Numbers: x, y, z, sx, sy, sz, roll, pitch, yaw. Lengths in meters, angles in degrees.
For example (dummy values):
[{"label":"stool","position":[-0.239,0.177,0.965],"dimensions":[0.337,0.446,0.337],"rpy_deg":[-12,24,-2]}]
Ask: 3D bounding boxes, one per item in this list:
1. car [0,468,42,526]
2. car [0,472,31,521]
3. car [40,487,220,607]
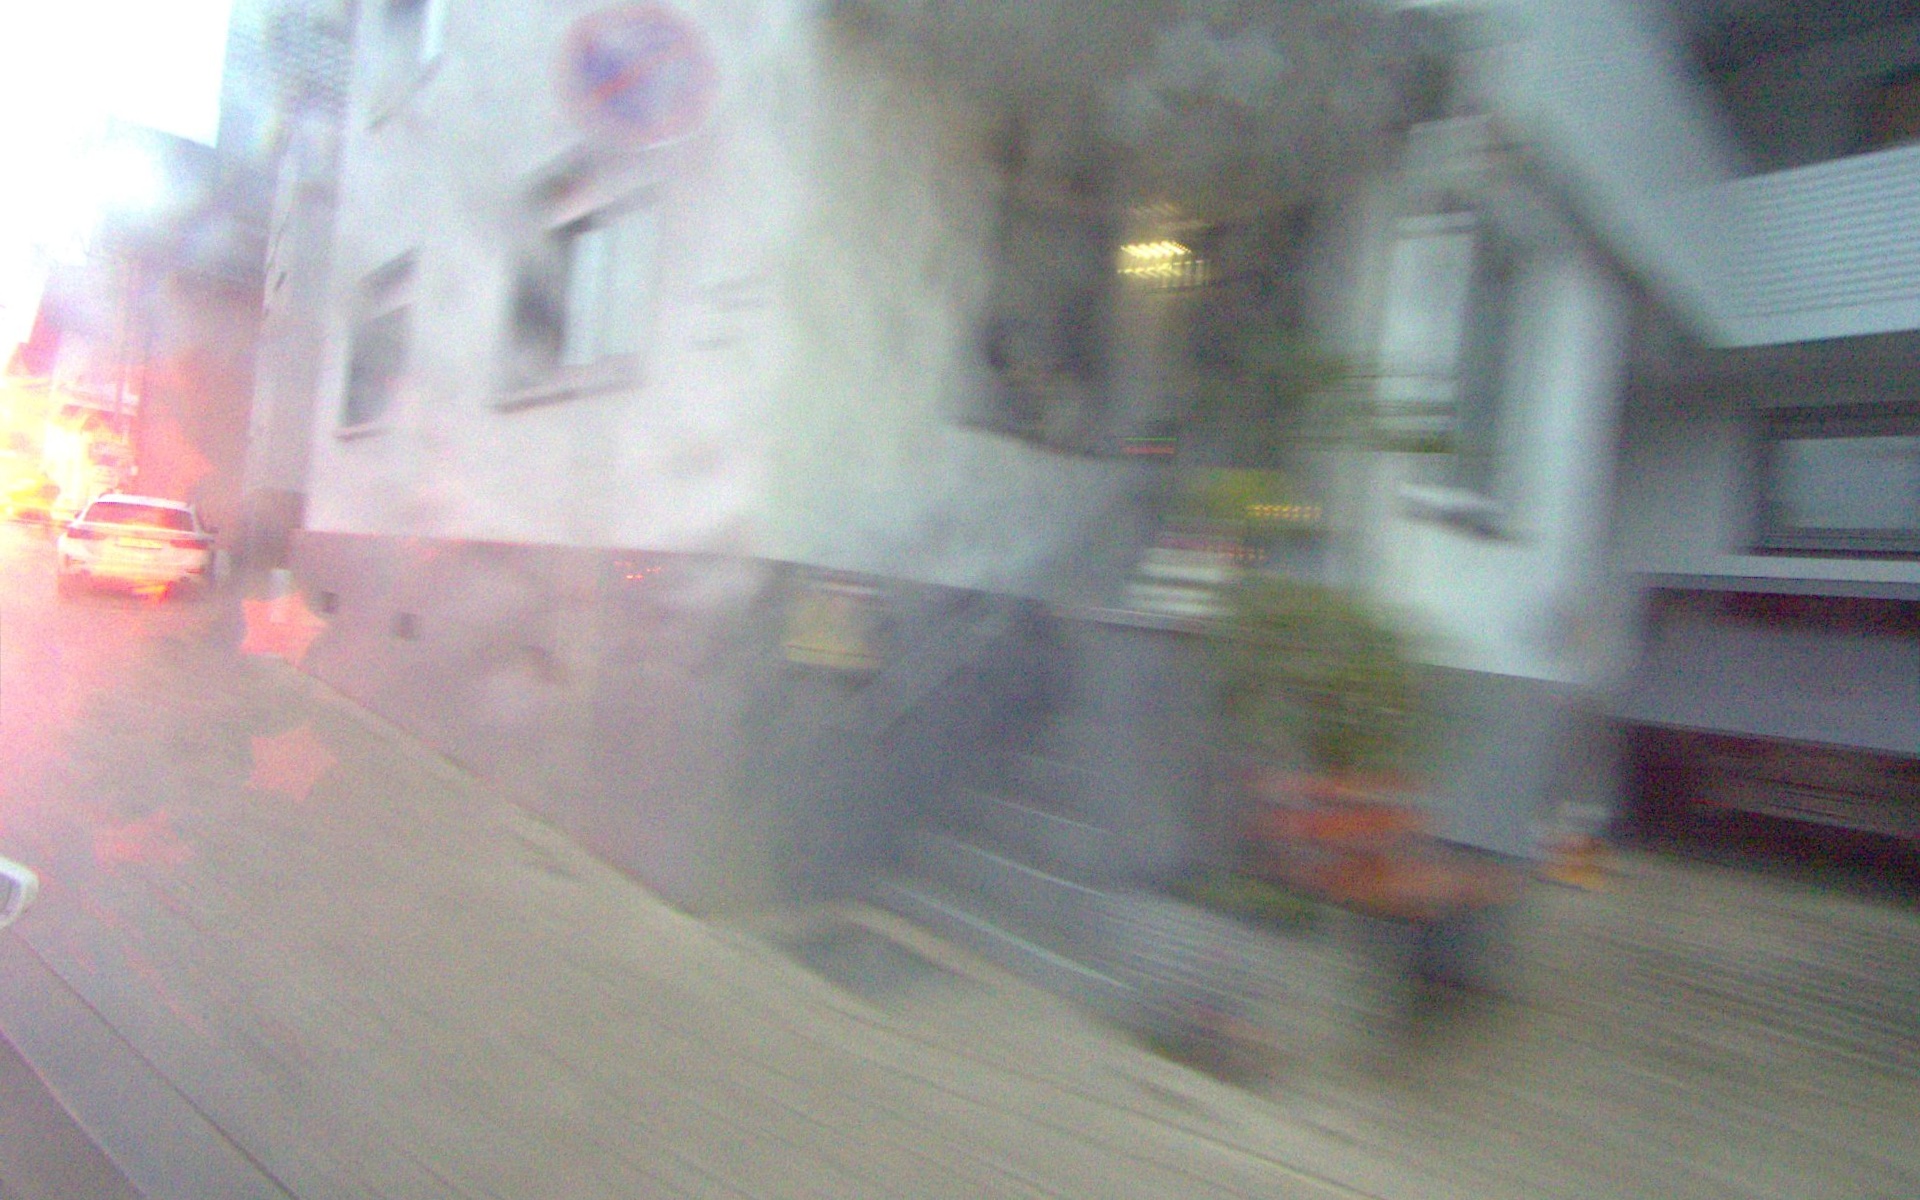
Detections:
[{"label":"car","position":[-38.222,-4.209,39.027],"dimensions":[3.688,2.037,1.668],"rpy_deg":[9,-2,-44]},{"label":"car","position":[-43.799,-4.814,45.830],"dimensions":[3.943,2.040,1.639],"rpy_deg":[7,2,41]},{"label":"car","position":[-12.968,-0.888,15.930],"dimensions":[1.873,1.485,4.495],"rpy_deg":[5,1,-38]}]
